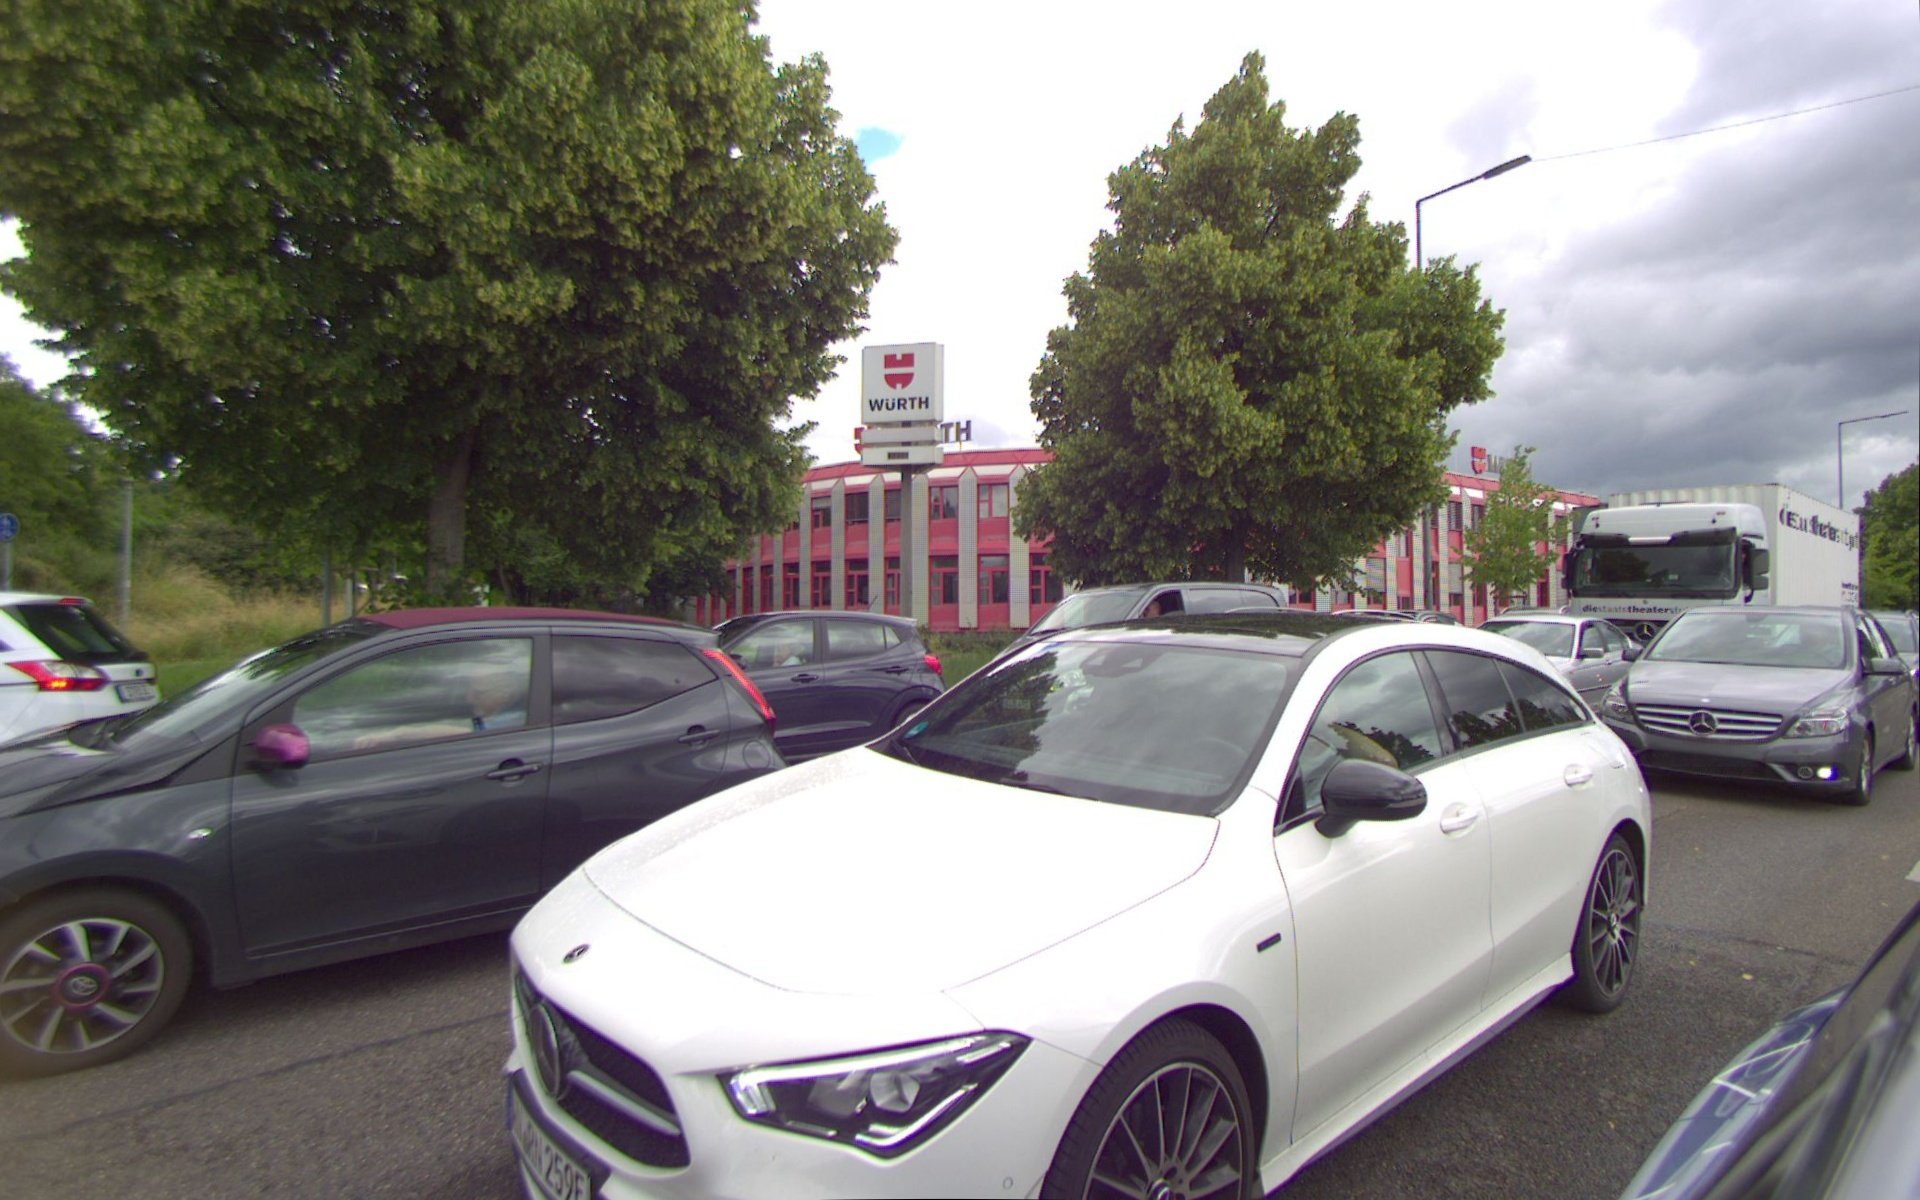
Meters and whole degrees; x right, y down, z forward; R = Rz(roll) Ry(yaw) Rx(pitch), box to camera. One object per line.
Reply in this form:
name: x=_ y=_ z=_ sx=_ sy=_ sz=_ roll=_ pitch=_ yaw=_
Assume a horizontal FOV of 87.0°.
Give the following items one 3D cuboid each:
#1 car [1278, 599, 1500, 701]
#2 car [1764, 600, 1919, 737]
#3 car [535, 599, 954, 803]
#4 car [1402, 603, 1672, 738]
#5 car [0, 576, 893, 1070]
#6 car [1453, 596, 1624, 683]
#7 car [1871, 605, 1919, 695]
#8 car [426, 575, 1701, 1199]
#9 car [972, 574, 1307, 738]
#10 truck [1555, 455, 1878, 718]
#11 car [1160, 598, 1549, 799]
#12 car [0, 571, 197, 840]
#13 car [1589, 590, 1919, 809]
car: x=7.404 y=0.811 z=17.321 sx=4.034 sy=1.536 sz=1.842 roll=0 pitch=-4 yaw=-41
car: x=11.762 y=0.792 z=12.970 sx=3.769 sy=1.512 sz=1.627 roll=1 pitch=-1 yaw=-41
car: x=-1.946 y=0.778 z=9.466 sx=3.495 sy=1.525 sz=1.608 roll=-1 pitch=0 yaw=-34
car: x=7.567 y=0.776 z=13.103 sx=4.215 sy=1.400 sz=1.749 roll=-1 pitch=1 yaw=-41
car: x=-2.300 y=0.643 z=4.613 sx=3.815 sy=1.471 sz=1.615 roll=-1 pitch=1 yaw=-42
car: x=12.389 y=0.817 z=21.580 sx=4.133 sy=1.679 sz=1.863 roll=1 pitch=-3 yaw=-41
car: x=17.849 y=0.896 z=18.106 sx=3.431 sy=1.525 sz=1.825 roll=2 pitch=-1 yaw=-39
car: x=0.844 y=0.701 z=3.477 sx=4.452 sy=1.525 sz=1.847 roll=-1 pitch=1 yaw=-41
car: x=2.471 y=0.581 z=13.191 sx=4.592 sy=1.797 sz=1.762 roll=-1 pitch=0 yaw=-40
truck: x=14.929 y=-0.186 z=19.516 sx=10.000 sy=3.953 sz=2.808 roll=0 pitch=0 yaw=-40
car: x=3.992 y=0.755 z=9.878 sx=4.280 sy=1.504 sz=1.749 roll=-1 pitch=1 yaw=-41
car: x=-7.869 y=0.667 z=6.591 sx=4.278 sy=1.676 sz=1.767 roll=0 pitch=-1 yaw=-20
car: x=7.296 y=0.721 z=9.056 sx=3.976 sy=1.527 sz=1.749 roll=1 pitch=-1 yaw=-41
